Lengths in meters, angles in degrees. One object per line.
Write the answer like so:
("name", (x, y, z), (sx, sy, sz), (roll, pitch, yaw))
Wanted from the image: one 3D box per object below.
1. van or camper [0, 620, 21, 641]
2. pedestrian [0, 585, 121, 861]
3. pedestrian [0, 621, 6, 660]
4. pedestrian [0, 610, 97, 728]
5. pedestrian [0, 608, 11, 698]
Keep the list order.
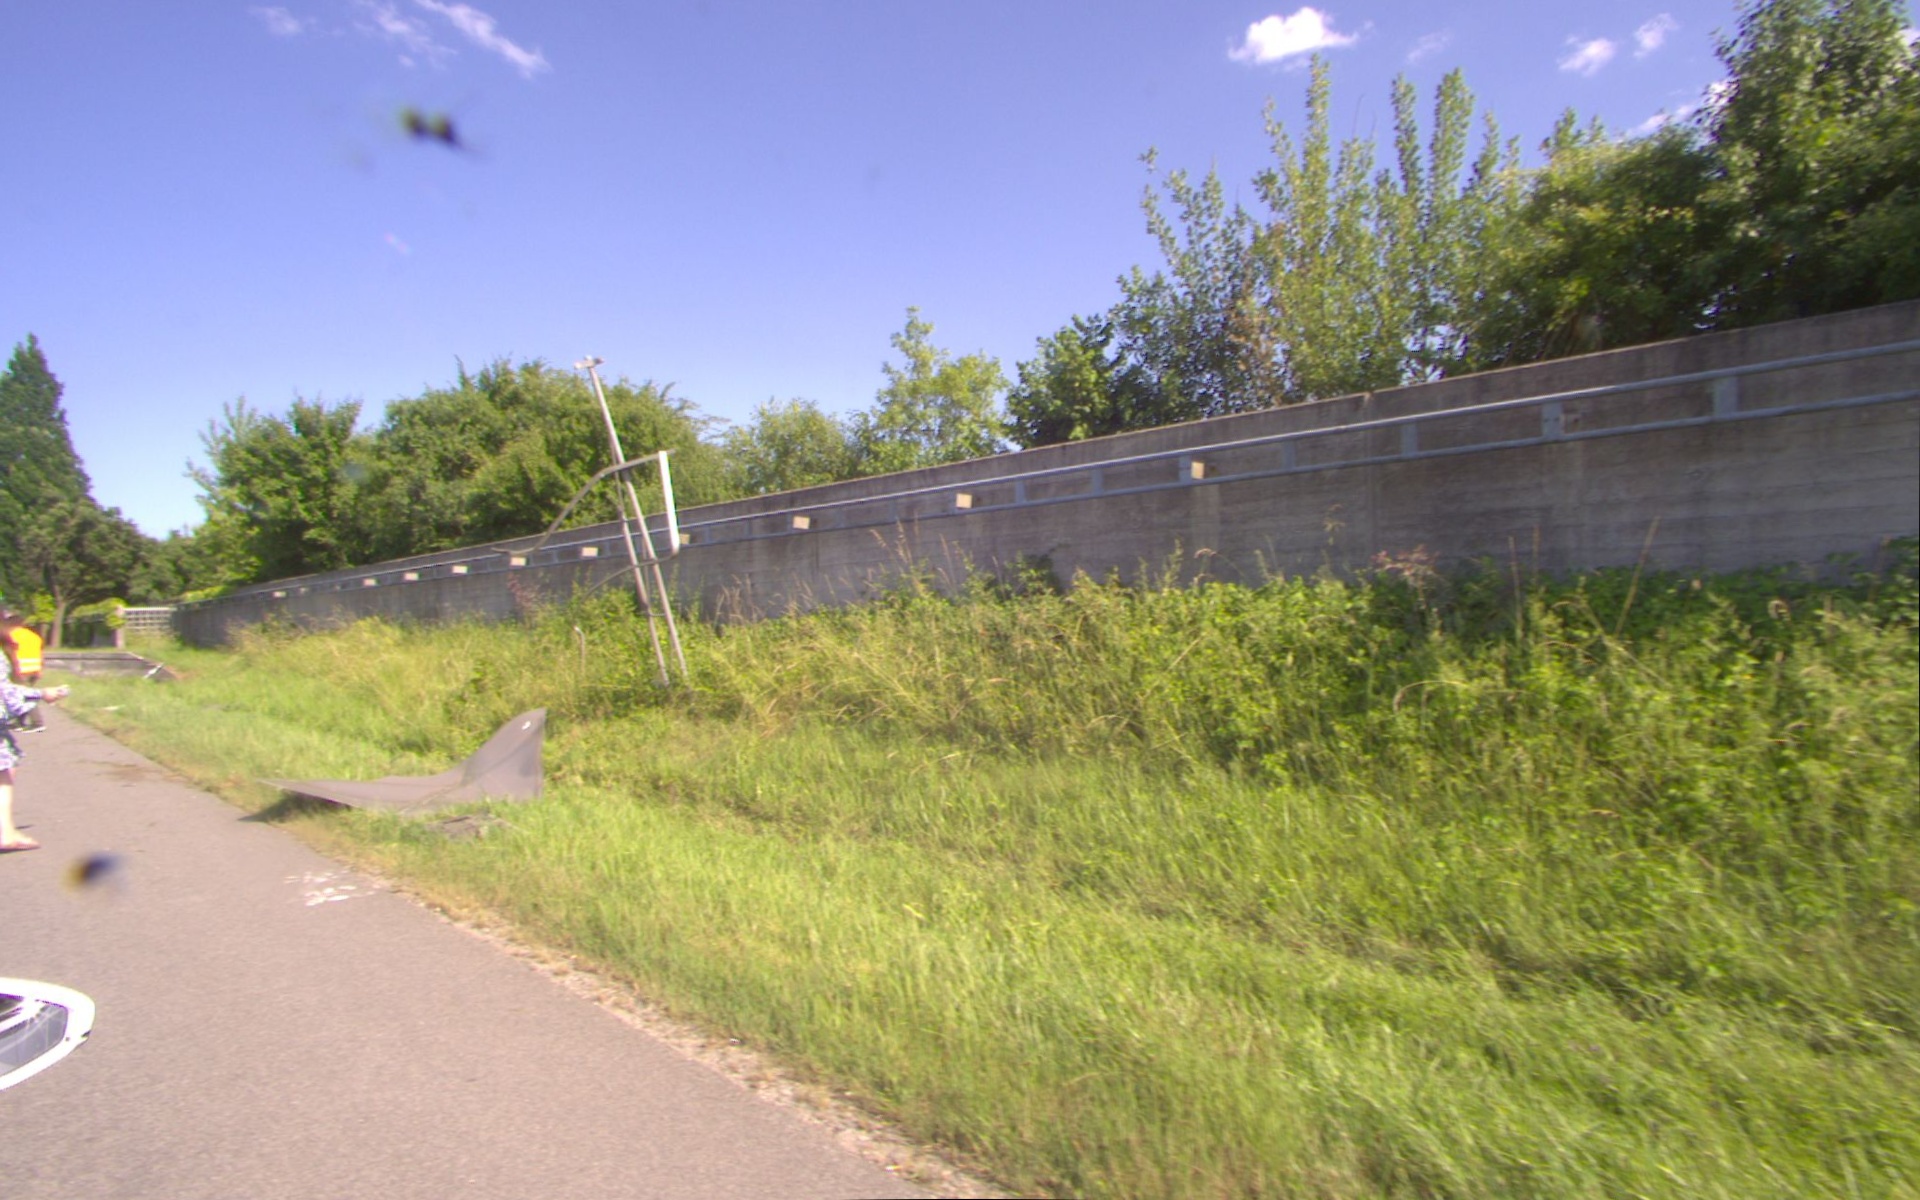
("van or camper", (-111.101, 3.537, 116.206), (1.971, 2.345, 4.450), (0, -2, -29))
("pedestrian", (-6.437, 0.776, 6.584), (0.875, 1.718, 1.128), (-1, 0, -3))
("pedestrian", (-43.070, 1.805, 44.212), (0.980, 1.711, 1.010), (0, -1, 10))
("pedestrian", (-13.840, 0.997, 14.852), (1.254, 1.675, 0.960), (-1, 0, 9))
("pedestrian", (-19.476, 1.039, 19.704), (0.812, 1.782, 0.814), (0, -1, 9))
